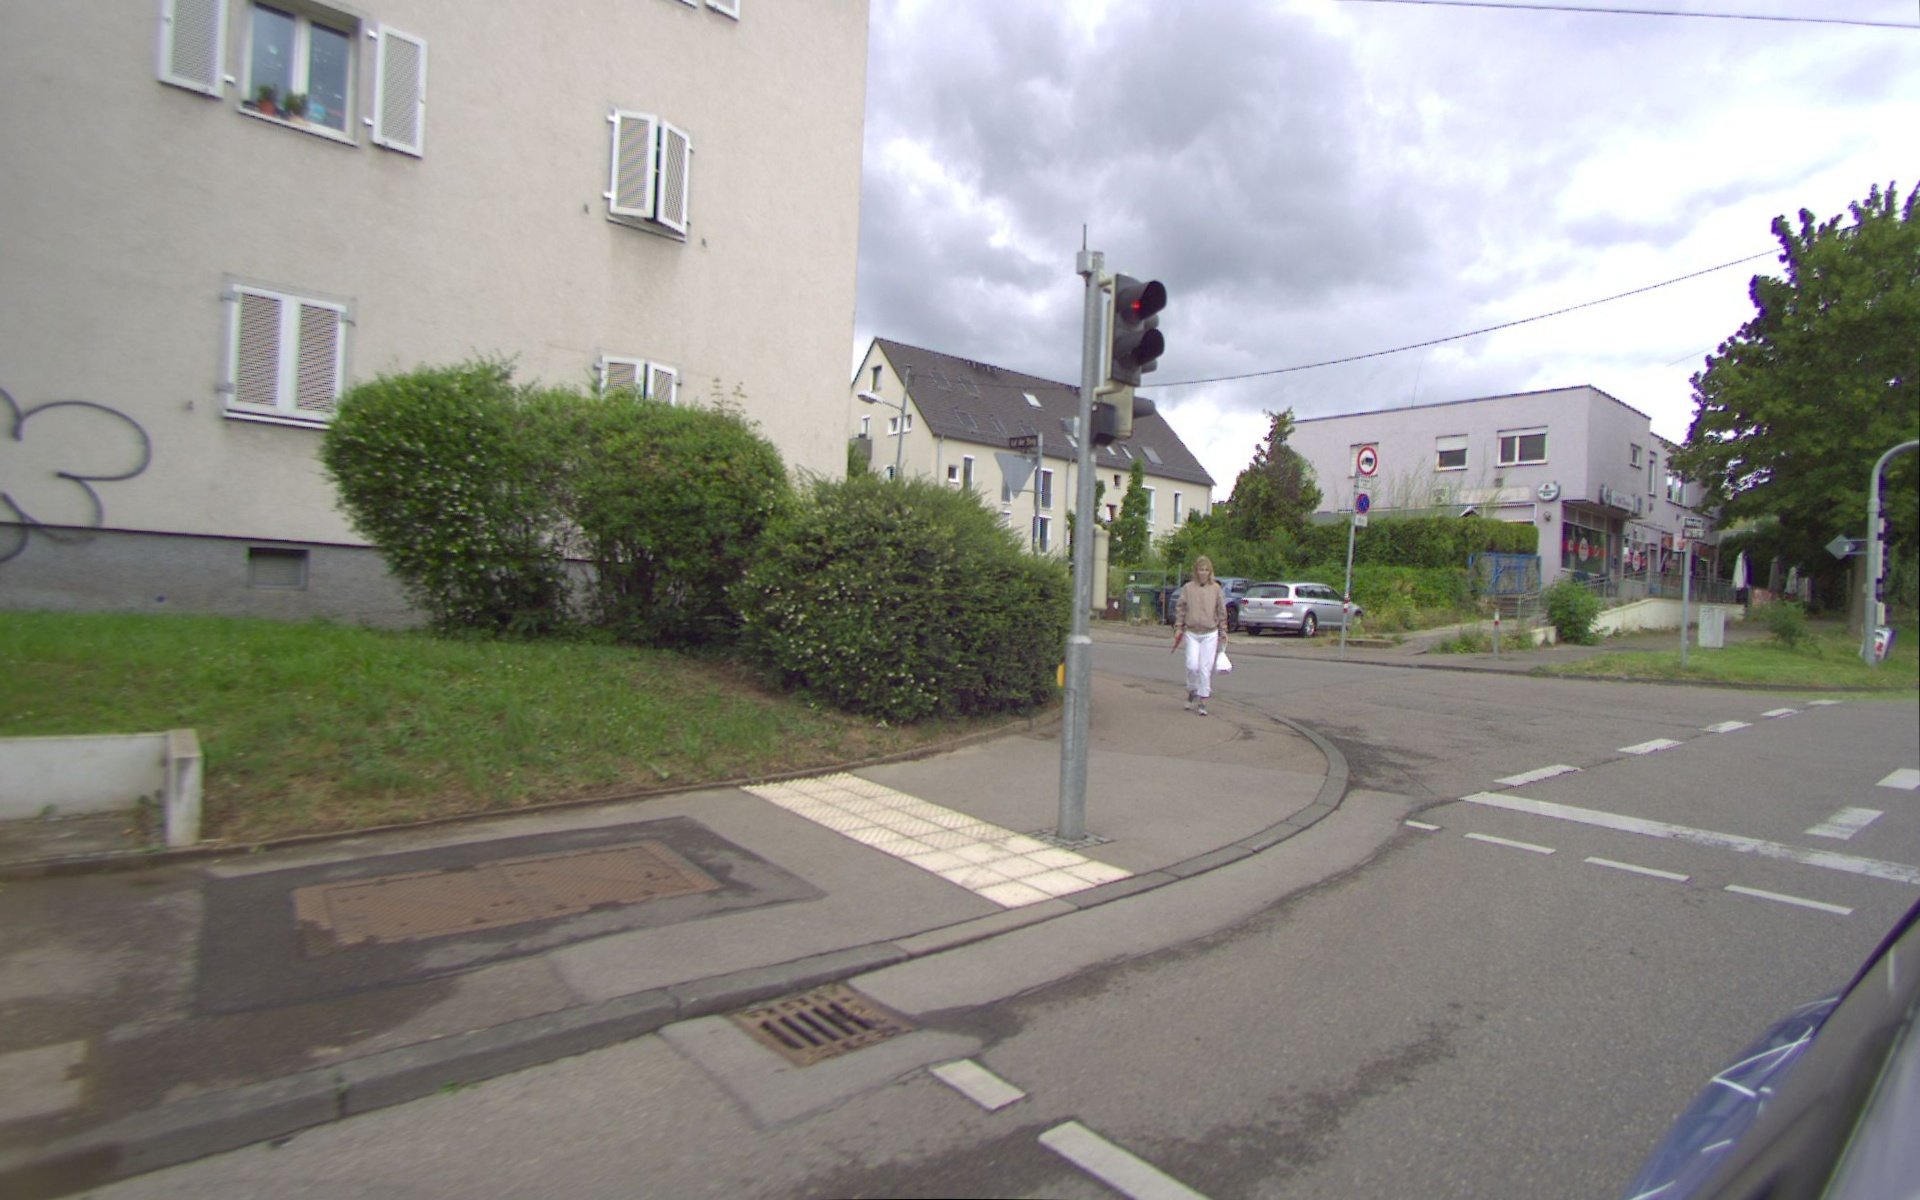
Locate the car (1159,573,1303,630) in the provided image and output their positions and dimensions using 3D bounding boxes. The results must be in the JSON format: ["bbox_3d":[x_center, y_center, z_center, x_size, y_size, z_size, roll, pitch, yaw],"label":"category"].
[{"bbox_3d":[8.094,0.030,30.010,4.532,1.553,1.996,0,0,-42],"label":"car"}]

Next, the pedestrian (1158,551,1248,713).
[{"bbox_3d":[2.673,0.334,11.144,0.564,1.706,0.658,3,1,-39],"label":"pedestrian"}]

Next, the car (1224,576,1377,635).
[{"bbox_3d":[9.332,0.131,27.555,4.532,1.482,1.996,0,0,-42],"label":"car"}]
